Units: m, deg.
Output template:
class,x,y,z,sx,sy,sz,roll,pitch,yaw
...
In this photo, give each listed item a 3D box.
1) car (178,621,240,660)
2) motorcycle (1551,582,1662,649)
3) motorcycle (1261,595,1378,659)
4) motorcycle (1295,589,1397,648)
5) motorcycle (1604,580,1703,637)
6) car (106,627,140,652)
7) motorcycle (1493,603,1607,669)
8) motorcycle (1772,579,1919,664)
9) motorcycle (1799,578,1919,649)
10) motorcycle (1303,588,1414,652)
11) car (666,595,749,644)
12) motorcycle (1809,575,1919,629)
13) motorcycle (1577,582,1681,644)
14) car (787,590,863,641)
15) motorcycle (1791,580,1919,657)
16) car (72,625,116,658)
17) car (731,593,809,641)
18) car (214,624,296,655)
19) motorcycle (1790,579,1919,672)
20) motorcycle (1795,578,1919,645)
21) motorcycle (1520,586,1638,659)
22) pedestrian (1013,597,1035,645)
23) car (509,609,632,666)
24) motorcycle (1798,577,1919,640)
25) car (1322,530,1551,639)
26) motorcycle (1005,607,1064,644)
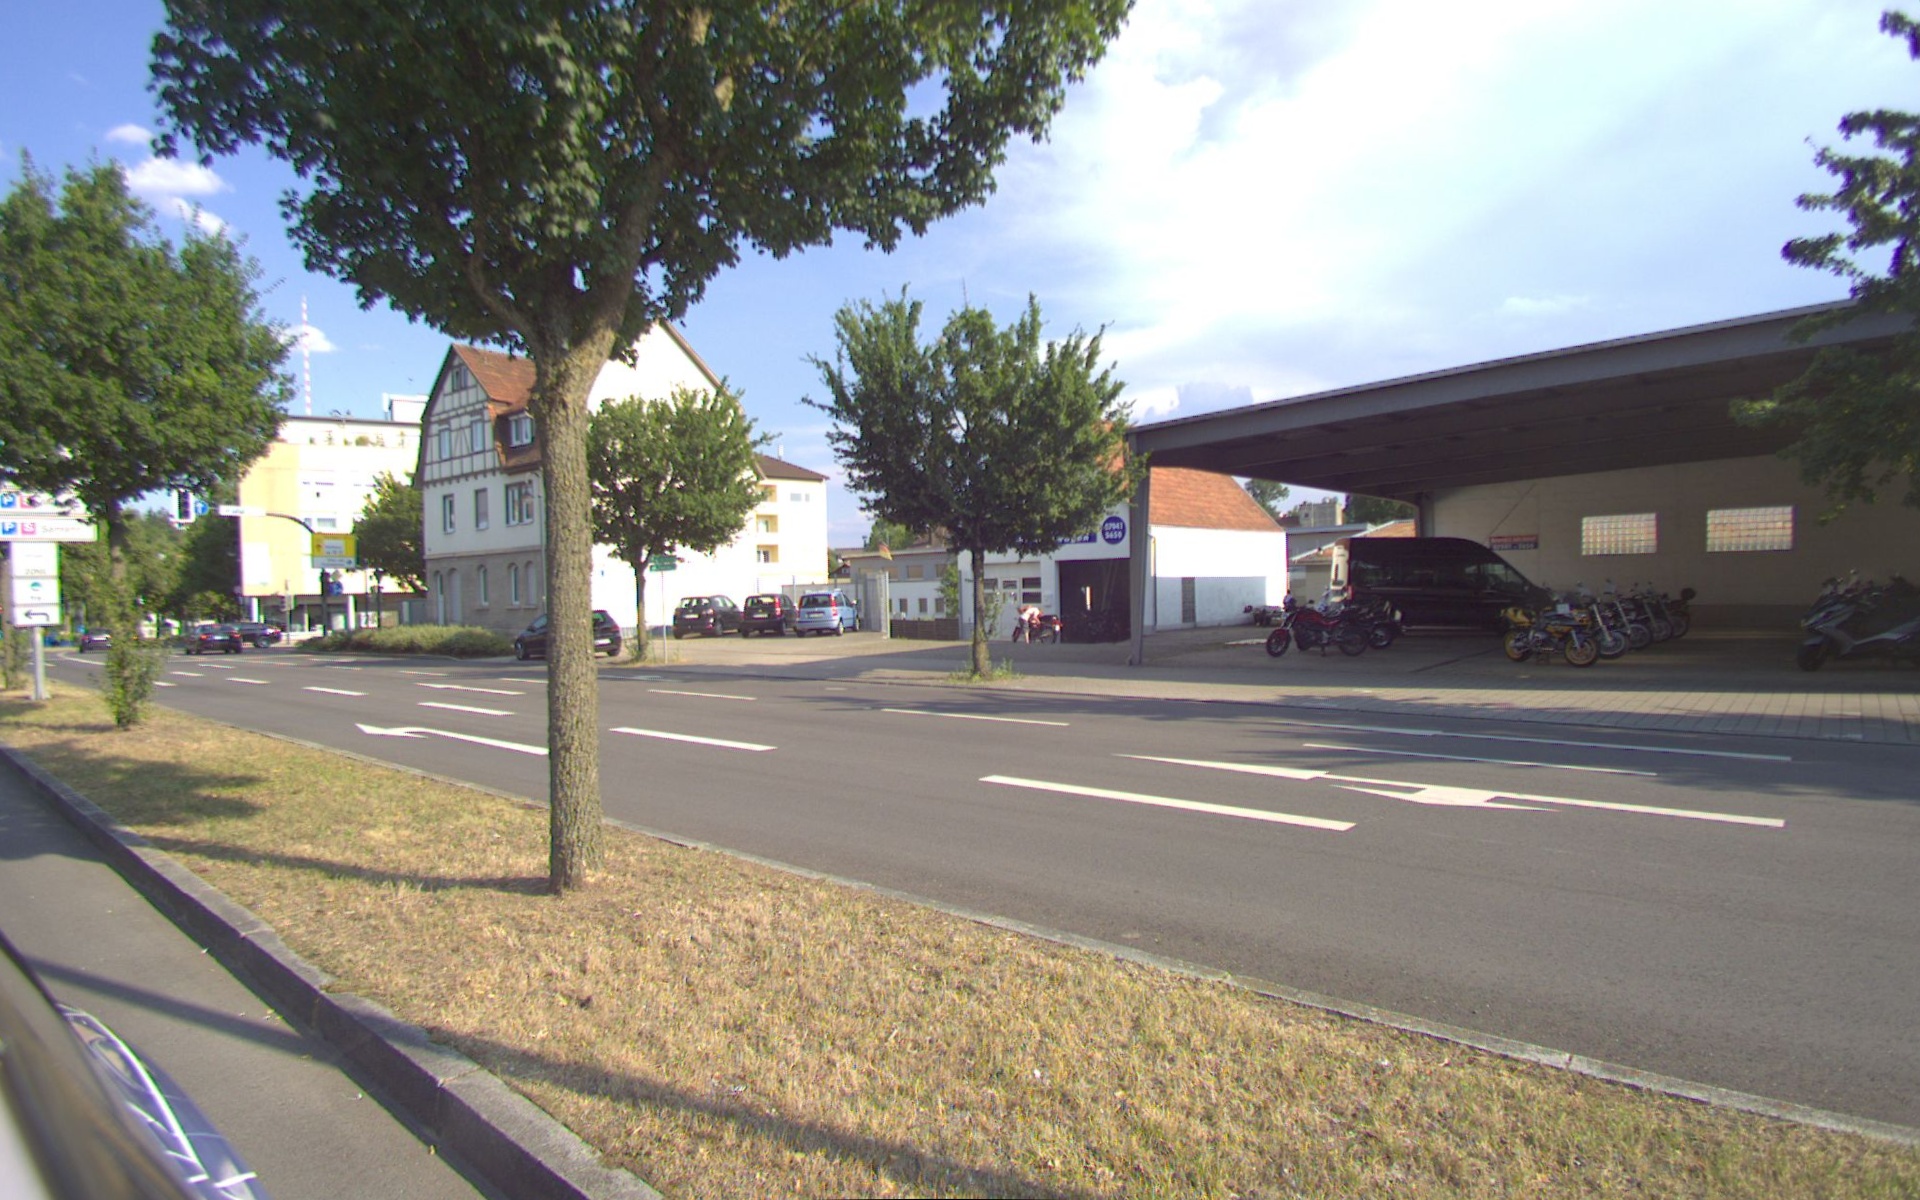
class,x,y,z,sx,sy,sz,roll,pitch,yaw
car,-35.607,1.892,47.935,4.002,1.706,1.757,-1,0,45
motorcycle,13.859,0.318,21.775,0.621,1.347,2.269,-1,0,-9
motorcycle,7.491,0.556,21.166,2.202,1.290,0.629,-1,0,11
motorcycle,9.373,0.446,24.613,2.198,1.372,0.630,-1,0,5
motorcycle,17.285,0.213,25.309,0.621,1.347,2.269,-1,0,-9
car,-61.080,2.827,73.891,1.754,1.706,4.008,-1,0,-38
motorcycle,10.526,0.614,18.157,0.621,1.095,2.038,-1,0,-8
motorcycle,14.908,0.356,16.782,2.103,1.306,0.628,-3,-1,17
motorcycle,18.040,0.263,19.995,2.103,1.306,0.628,-3,-1,17
motorcycle,8.951,0.445,22.810,2.198,1.372,0.630,-1,0,5
car,-9.328,0.684,37.704,1.797,1.512,3.819,-3,2,5
motorcycle,23.728,0.065,26.528,2.103,1.306,0.628,-3,-1,17
motorcycle,15.531,0.295,23.585,0.621,1.347,2.269,-1,0,-9
car,-4.688,0.513,35.682,1.797,1.512,3.819,-3,2,5
motorcycle,16.526,0.334,18.354,2.103,1.306,0.628,-3,-1,17
car,-48.132,2.249,56.206,1.755,1.706,4.005,-1,0,-42
car,-6.927,0.579,37.312,1.797,1.512,3.819,-3,2,5
car,-41.934,2.339,60.213,3.935,1.687,1.791,-1,0,-38
motorcycle,13.856,0.371,15.122,2.103,1.306,0.628,-3,-1,17
motorcycle,19.029,0.250,21.296,2.103,1.306,0.628,-3,-1,17
motorcycle,12.153,0.432,19.962,0.621,1.347,2.269,-1,0,-9
pedestrian,2.066,0.669,32.770,0.485,1.530,0.496,-1,0,41
car,-11.606,1.076,30.081,3.823,1.462,1.795,-1,2,42
motorcycle,20.223,0.200,22.650,2.103,1.306,0.628,-3,-1,17
car,12.860,-0.385,27.634,5.221,2.773,1.996,-1,0,7
motorcycle,2.428,0.832,33.216,1.974,1.194,0.577,-1,0,41
